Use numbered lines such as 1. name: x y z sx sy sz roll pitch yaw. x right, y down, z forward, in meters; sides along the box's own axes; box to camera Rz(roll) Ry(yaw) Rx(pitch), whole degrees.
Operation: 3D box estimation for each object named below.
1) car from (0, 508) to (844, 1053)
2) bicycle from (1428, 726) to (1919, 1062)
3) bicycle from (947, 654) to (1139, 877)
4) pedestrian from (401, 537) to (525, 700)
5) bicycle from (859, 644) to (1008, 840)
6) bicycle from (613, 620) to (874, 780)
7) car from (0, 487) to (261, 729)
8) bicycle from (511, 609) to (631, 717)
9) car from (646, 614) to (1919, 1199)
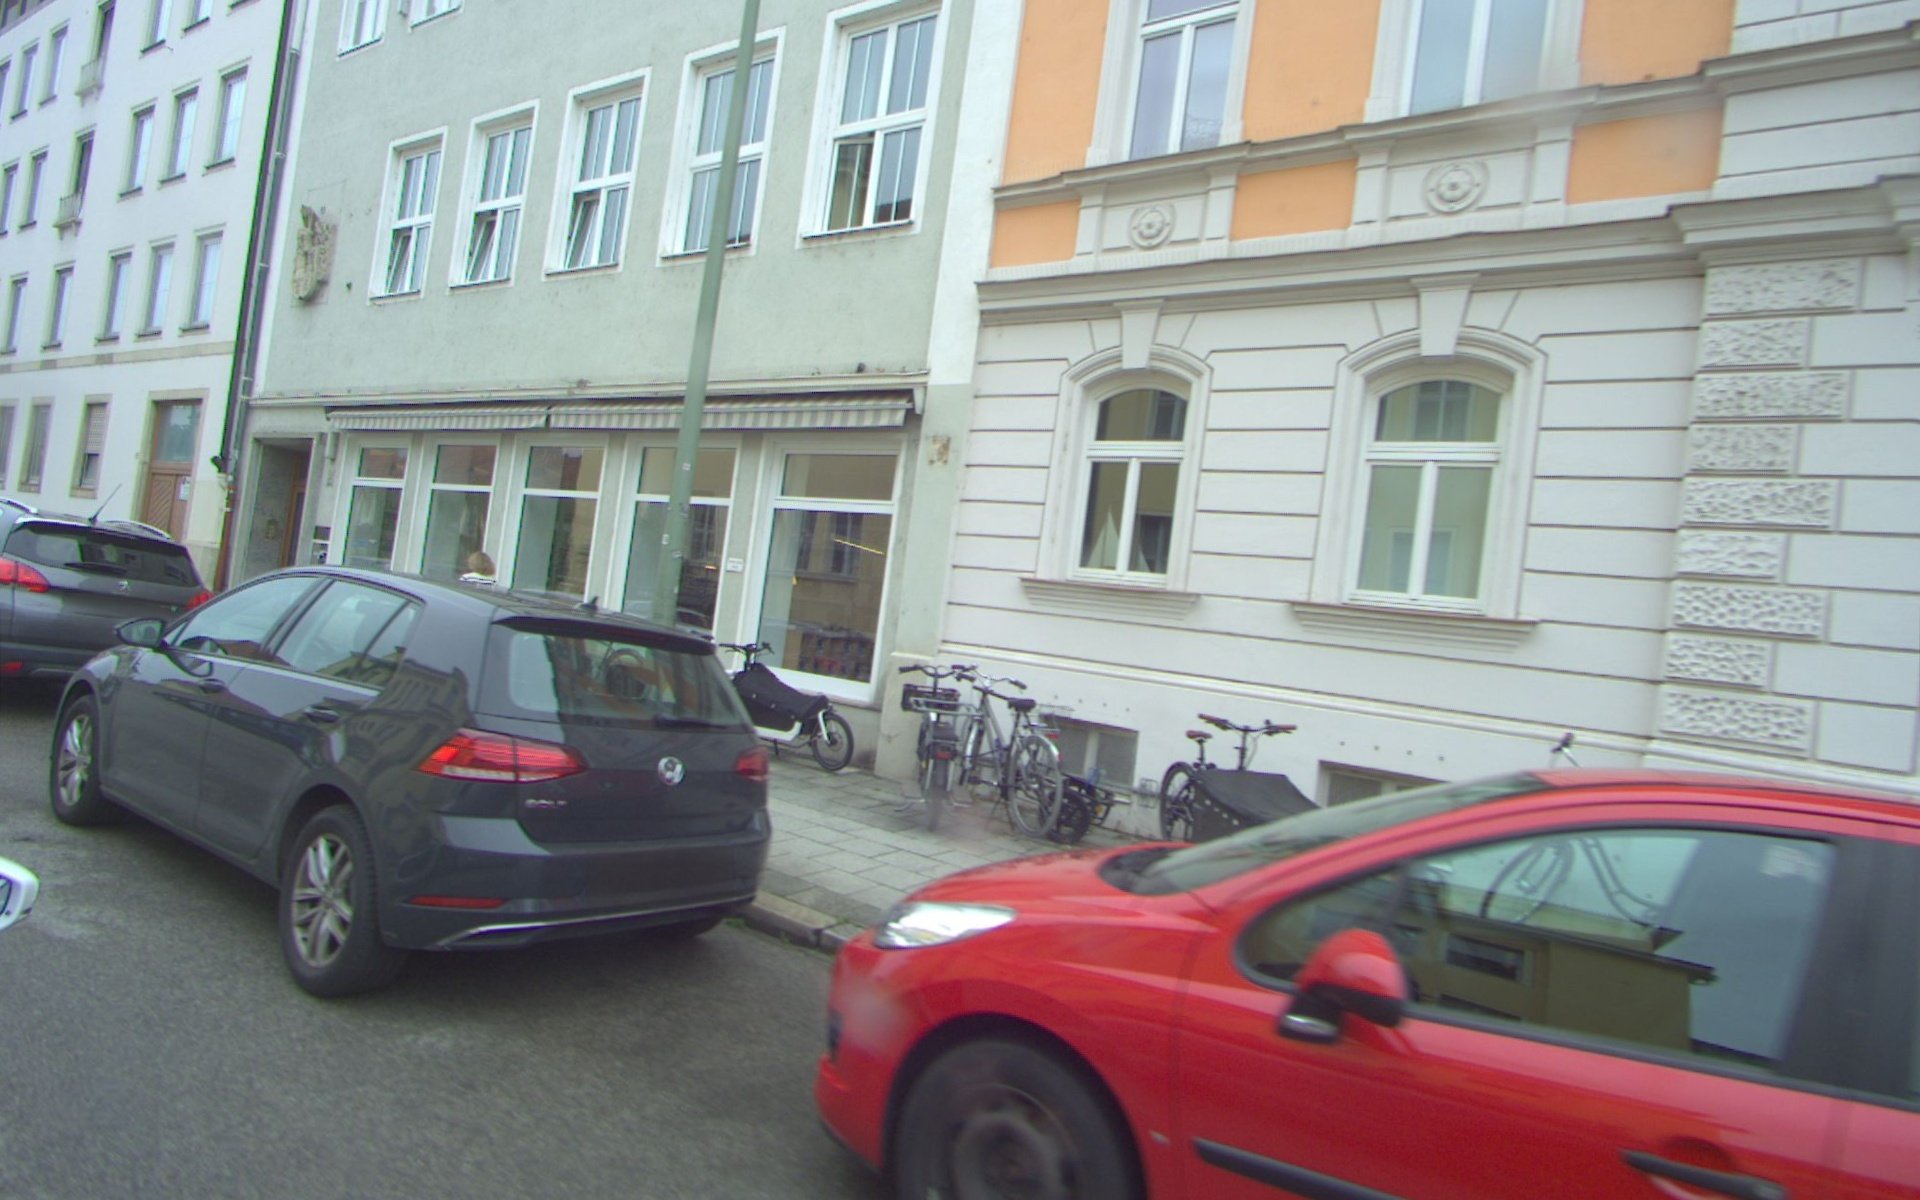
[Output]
1. car: -2.726 0.548 4.797 4.018 1.466 1.697 6 -5 34
2. bicycle: 3.847 1.489 5.578 2.061 1.198 0.651 8 1 34
3. bicycle: 0.518 1.112 7.396 0.600 1.197 2.088 8 0 -15
4. pedestrian: -5.374 0.209 10.897 0.814 1.645 0.735 7 0 32
5. bicycle: -0.276 1.012 7.829 0.600 1.197 2.091 8 -2 -13
6. bicycle: -2.061 0.890 9.391 2.418 1.087 0.770 7 -2 32
7. car: -7.999 -0.057 8.501 4.014 1.599 1.698 7 -5 30
8. bicycle: -4.385 0.690 11.289 1.496 1.016 0.331 7 -1 32
9. car: 1.440 1.087 2.461 4.228 1.466 1.604 7 -5 30
